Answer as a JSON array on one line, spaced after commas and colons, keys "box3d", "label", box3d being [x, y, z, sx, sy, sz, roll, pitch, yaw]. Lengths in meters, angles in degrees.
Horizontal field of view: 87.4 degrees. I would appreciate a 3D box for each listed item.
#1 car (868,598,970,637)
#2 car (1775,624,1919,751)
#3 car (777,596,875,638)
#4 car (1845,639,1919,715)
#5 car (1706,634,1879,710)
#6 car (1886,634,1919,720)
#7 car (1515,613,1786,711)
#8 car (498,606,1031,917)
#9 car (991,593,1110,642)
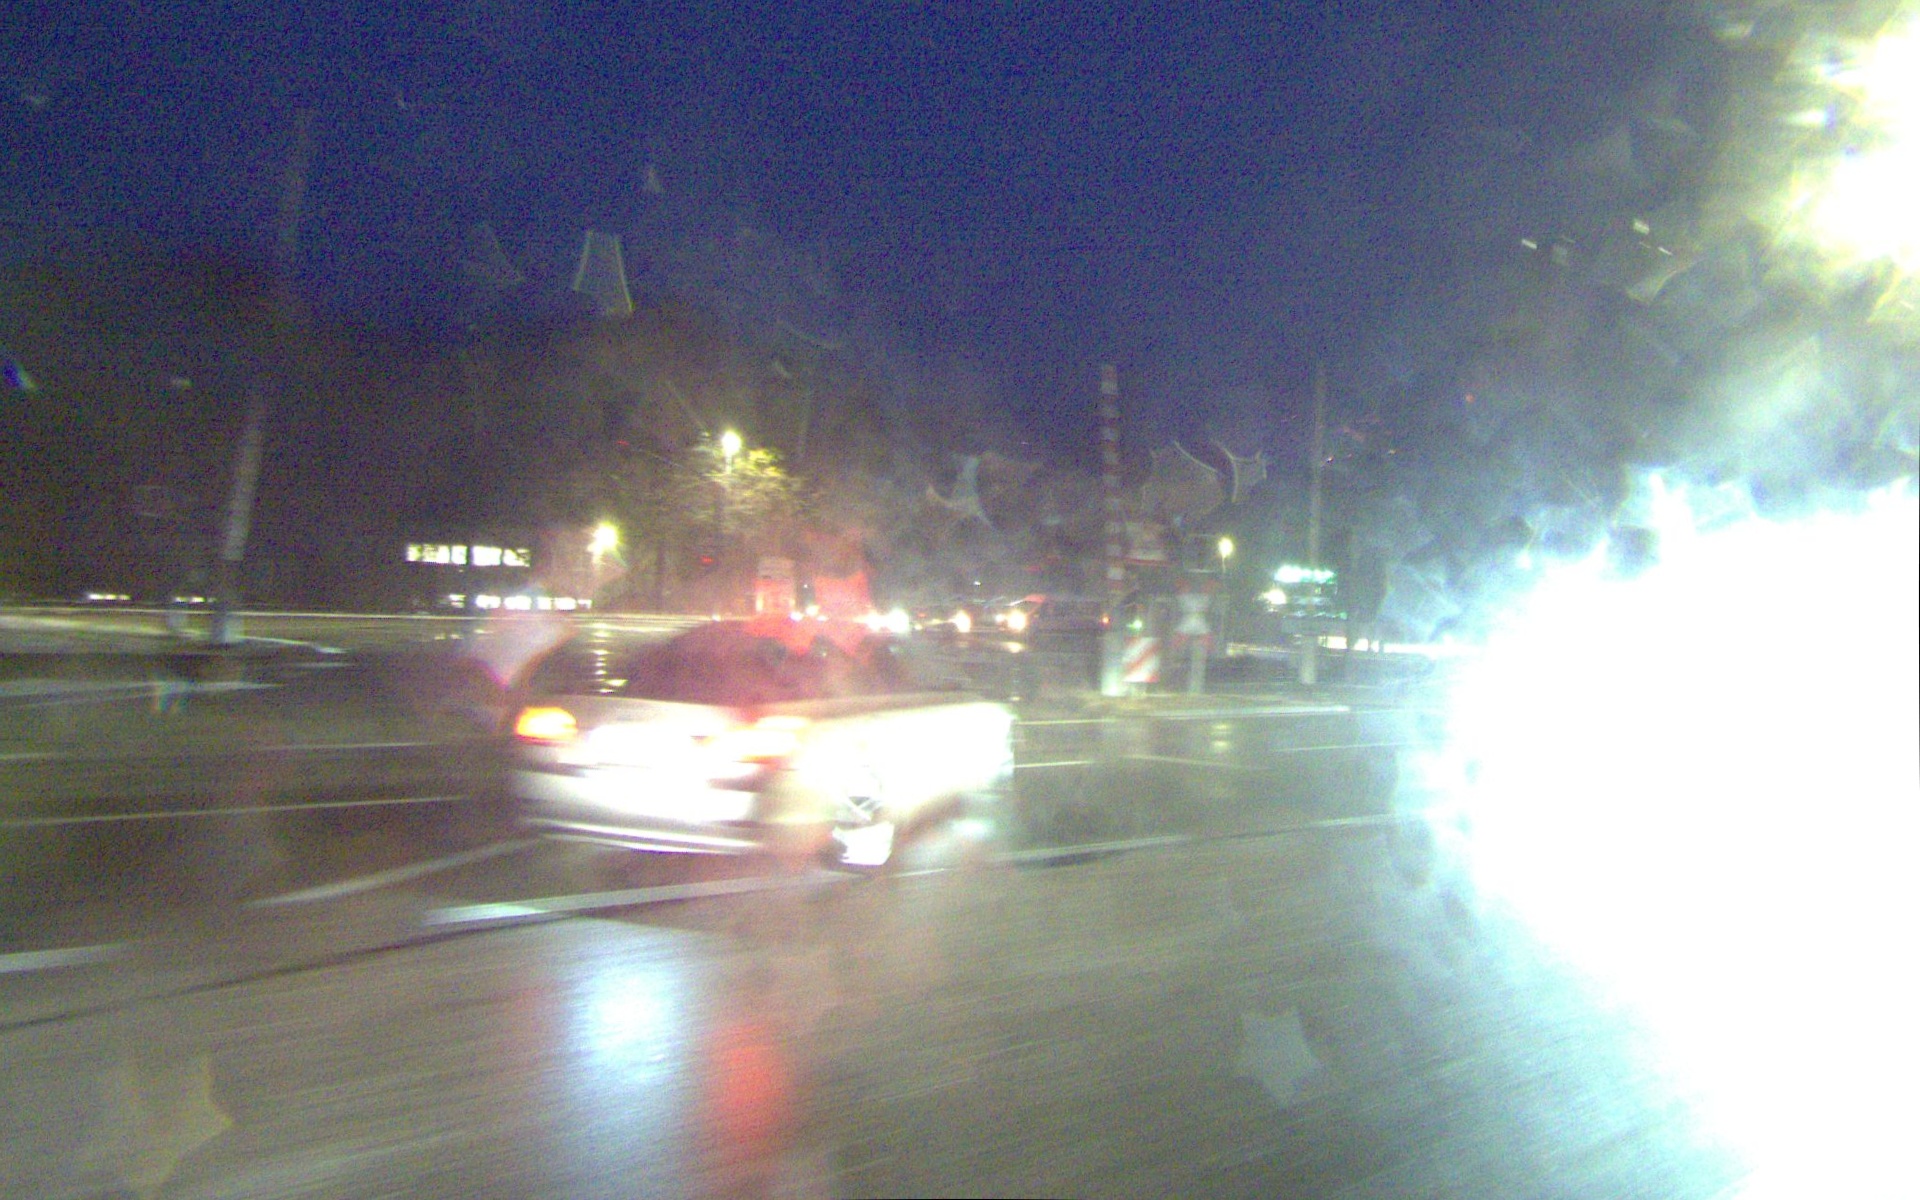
[{"box3d": [-1.868, 0.825, 46.614, 4.402, 1.715, 1.834, 2, 0, -34], "label": "car"}, {"box3d": [15.280, 1.351, 16.037, 4.957, 1.720, 1.983, 3, -1, -32], "label": "car"}, {"box3d": [-5.473, 0.703, 41.579, 1.964, 1.613, 3.992, 1, 0, 30], "label": "car"}, {"box3d": [24.823, 1.930, 25.623, 4.443, 1.770, 1.985, 2, 0, -29], "label": "car"}, {"box3d": [18.453, 1.560, 22.246, 3.560, 1.472, 1.814, 2, 0, -30], "label": "car"}, {"box3d": [20.202, 1.554, 19.636, 4.417, 1.591, 1.946, 3, -1, -32], "label": "car"}, {"box3d": [13.104, 1.110, 18.990, 5.101, 1.577, 2.346, 2, 0, -31], "label": "car"}, {"box3d": [-0.883, 0.793, 7.083, 1.633, 1.383, 4.505, 2, 0, 19], "label": "car"}, {"box3d": [4.642, 0.928, 51.293, 5.949, 2.338, 1.984, 2, 0, -30], "label": "car"}]
